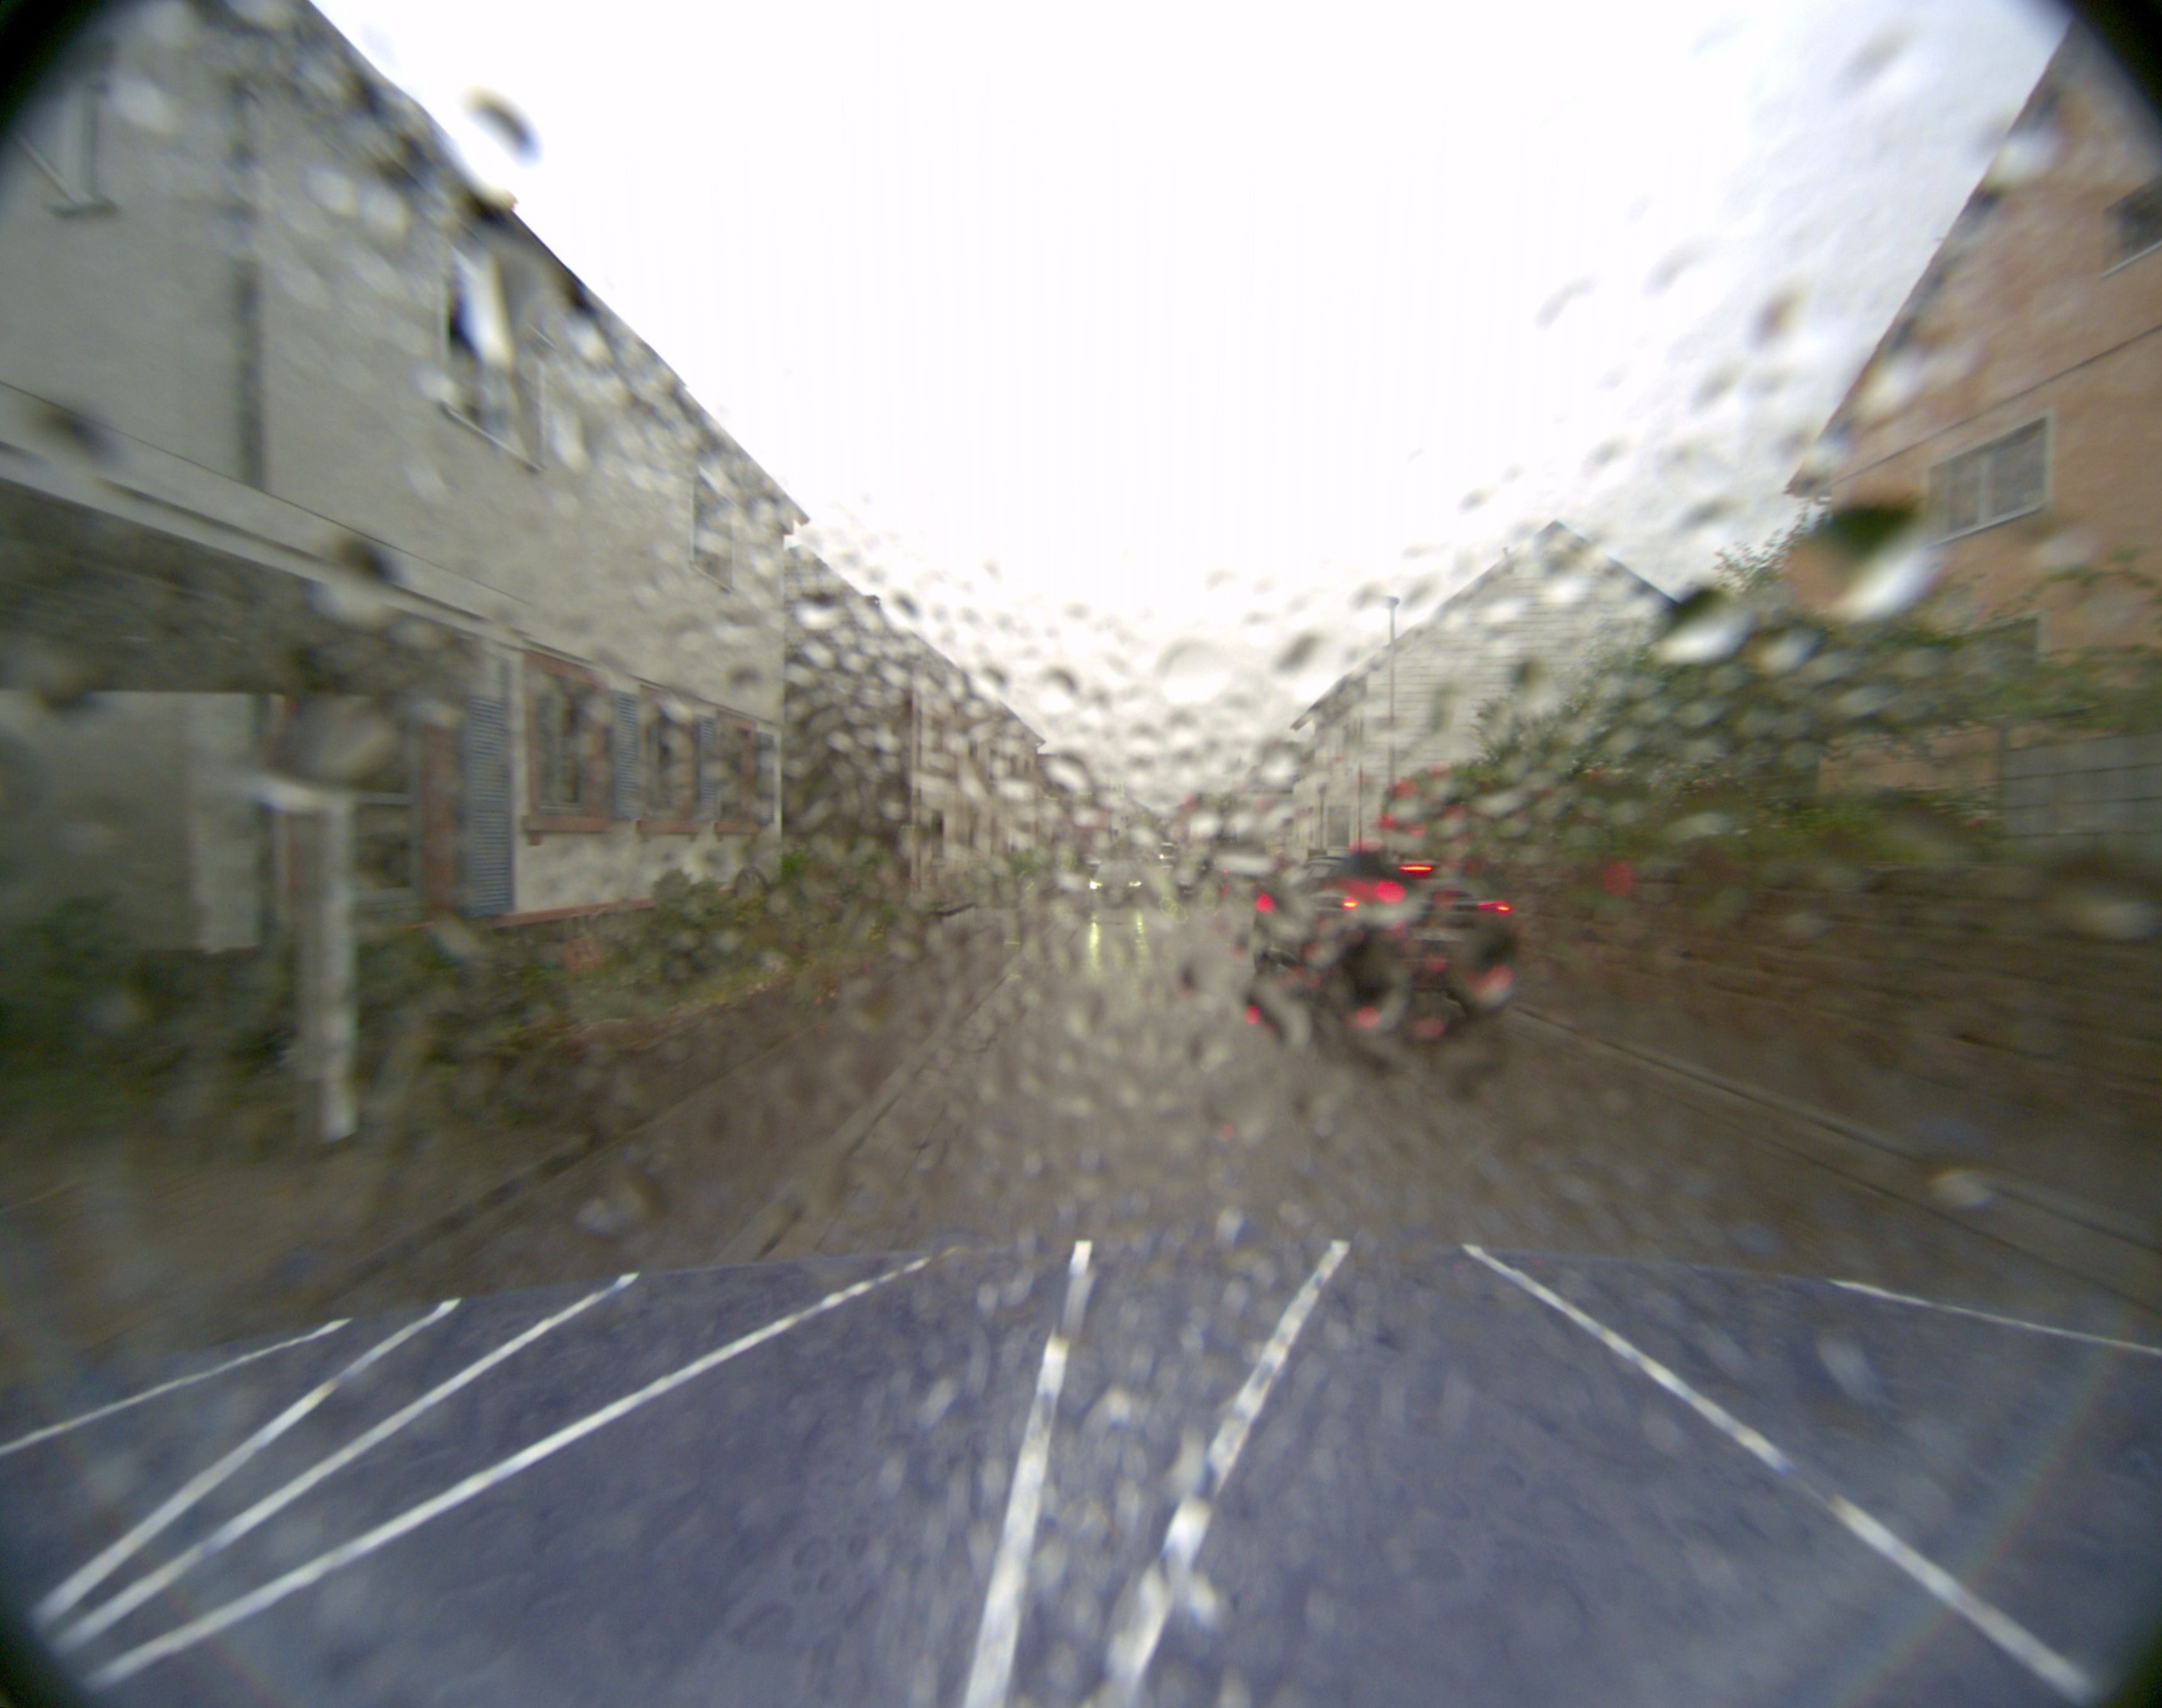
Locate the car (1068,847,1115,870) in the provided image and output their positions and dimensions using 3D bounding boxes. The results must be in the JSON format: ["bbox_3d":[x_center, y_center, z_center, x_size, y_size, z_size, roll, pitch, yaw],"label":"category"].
[{"bbox_3d":[0.719,0.312,54.983,1.893,1.566,3.884,-3,1,-23],"label":"car"}]

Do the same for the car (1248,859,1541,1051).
[{"bbox_3d":[3.063,0.862,8.341,1.704,1.538,3.851,2,0,2],"label":"car"}]

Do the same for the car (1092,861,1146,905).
[{"bbox_3d":[1.256,0.911,25.507,1.667,1.290,3.518,-2,0,2],"label":"car"}]

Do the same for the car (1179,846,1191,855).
[{"bbox_3d":[18.151,-0.684,132.544,1.859,1.497,4.163,1,1,8],"label":"car"}]

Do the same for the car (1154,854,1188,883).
[{"bbox_3d":[4.793,0.739,40.851,1.583,1.472,3.717,2,0,4],"label":"car"}]

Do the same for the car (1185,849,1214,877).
[{"bbox_3d":[7.779,0.543,49.825,1.814,1.674,4.186,1,1,9],"label":"car"}]

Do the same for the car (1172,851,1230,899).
[{"bbox_3d":[4.672,0.751,30.216,1.838,1.664,5.198,1,1,4],"label":"car"}]
